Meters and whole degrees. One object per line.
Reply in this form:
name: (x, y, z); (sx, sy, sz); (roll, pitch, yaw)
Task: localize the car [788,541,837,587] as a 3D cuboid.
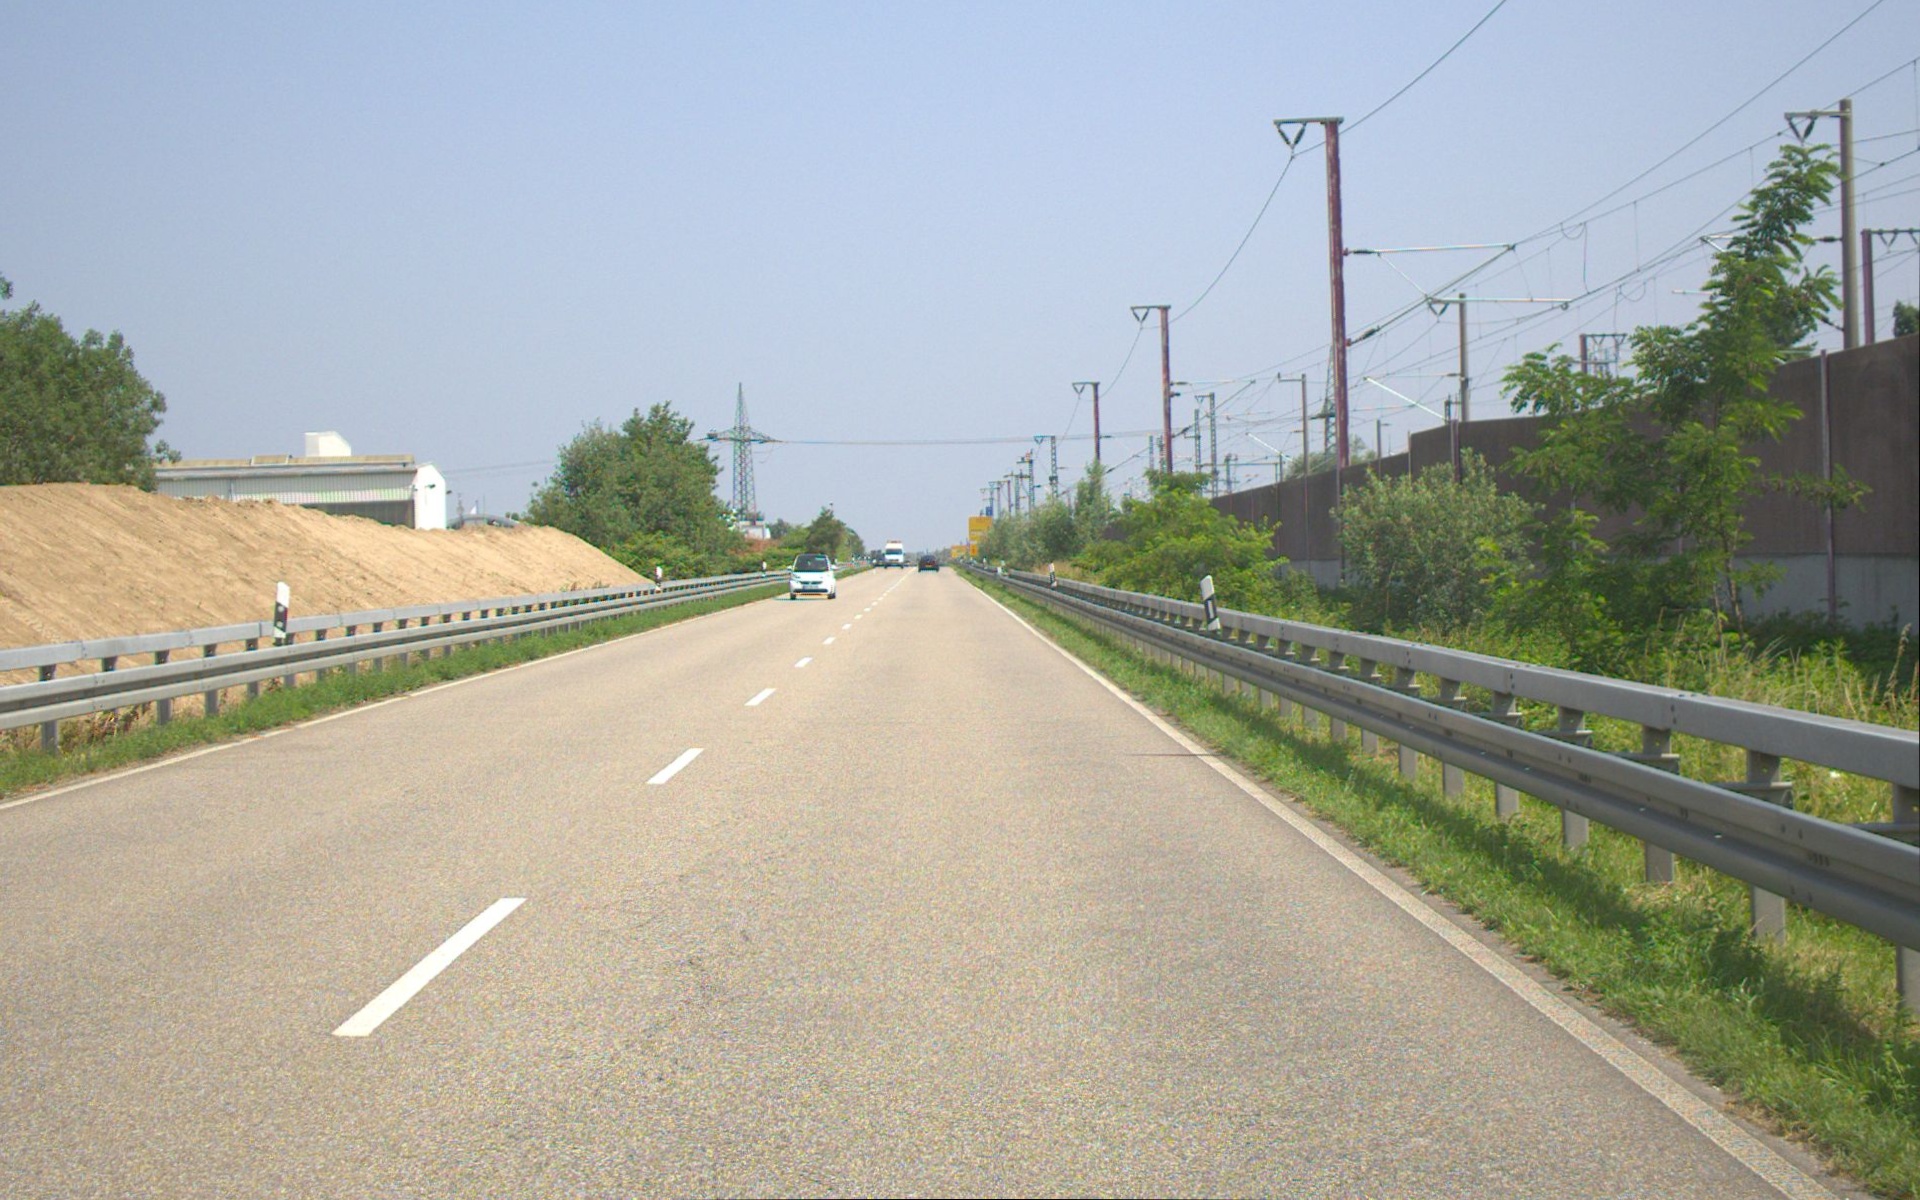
car: (-5.114, -1.263, 119.882); (1.595, 1.571, 3.828); (0, 1, -1)
